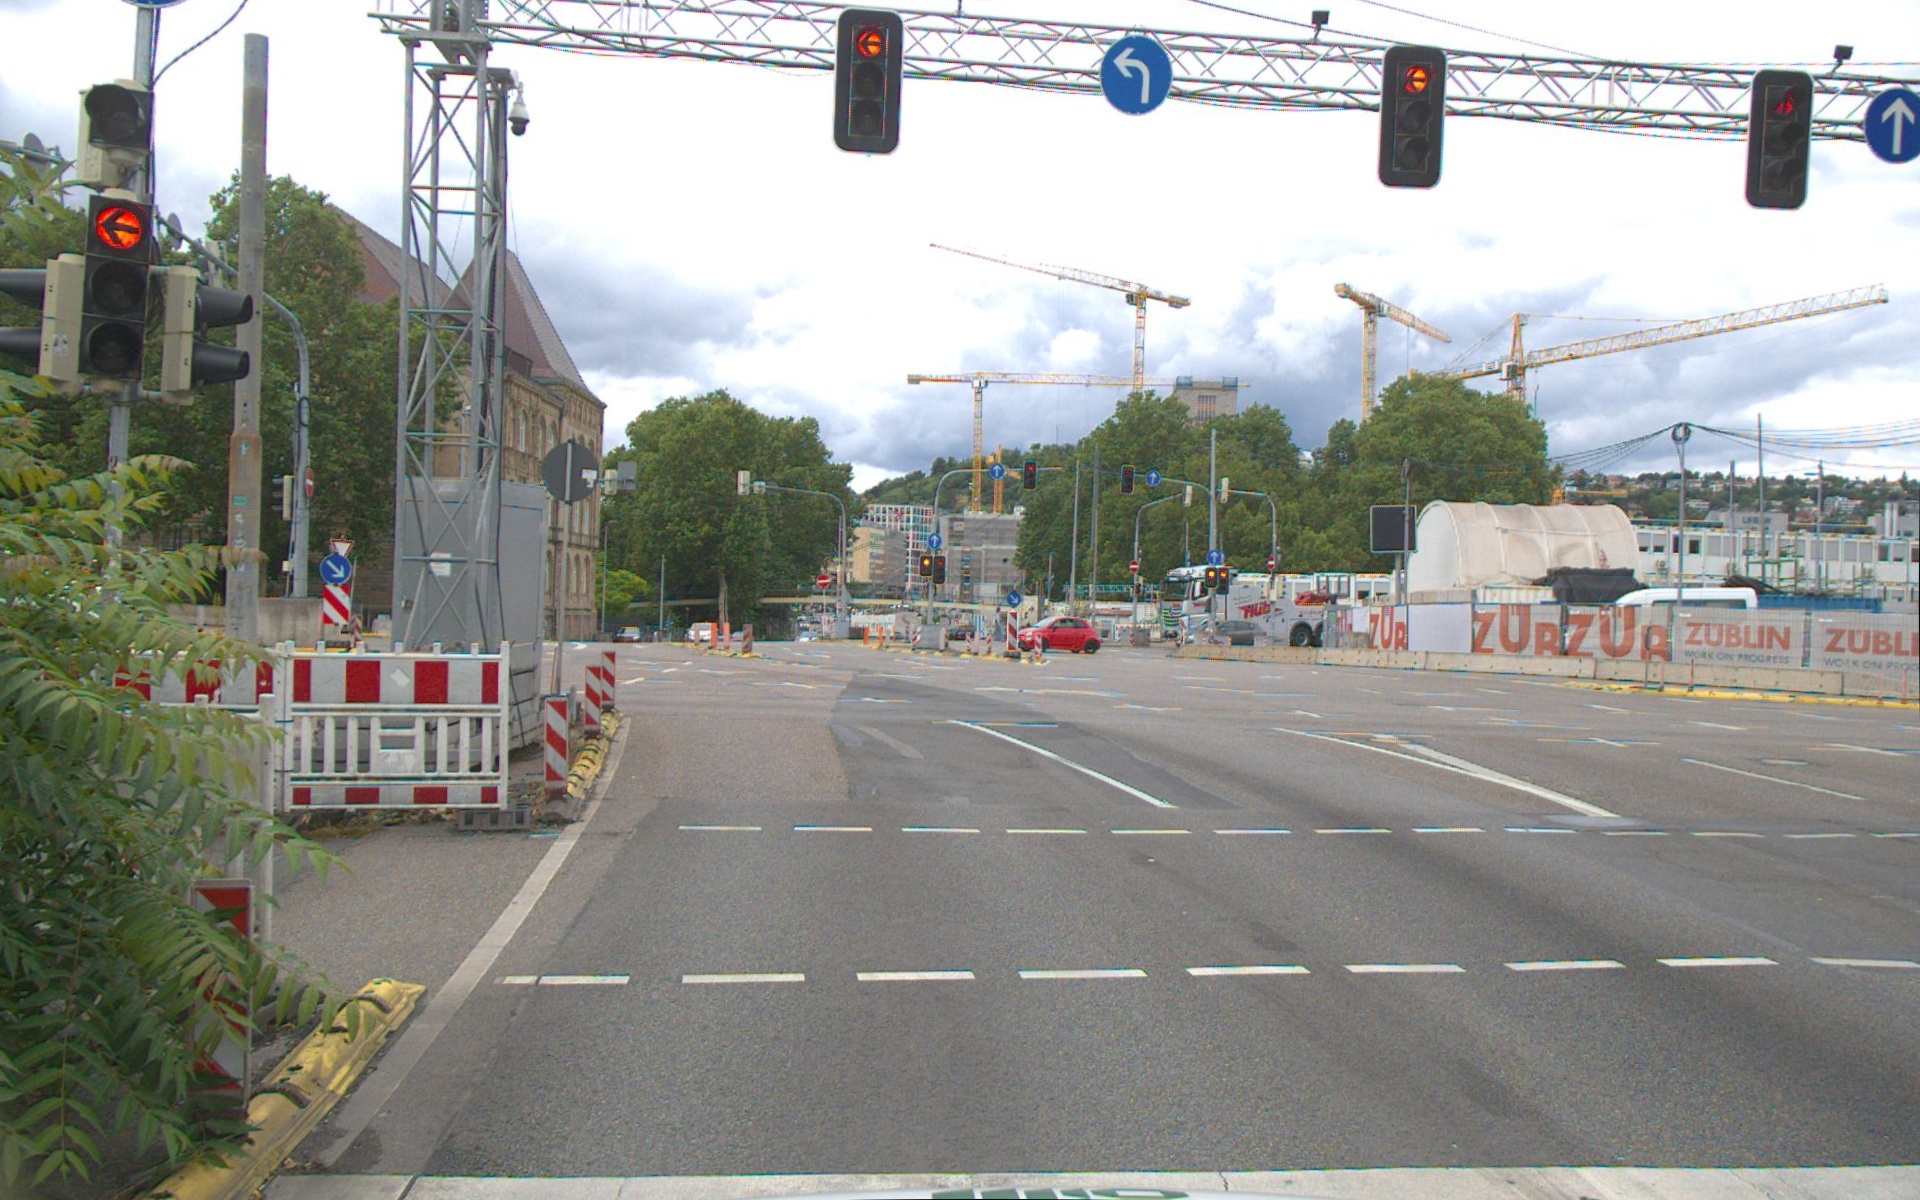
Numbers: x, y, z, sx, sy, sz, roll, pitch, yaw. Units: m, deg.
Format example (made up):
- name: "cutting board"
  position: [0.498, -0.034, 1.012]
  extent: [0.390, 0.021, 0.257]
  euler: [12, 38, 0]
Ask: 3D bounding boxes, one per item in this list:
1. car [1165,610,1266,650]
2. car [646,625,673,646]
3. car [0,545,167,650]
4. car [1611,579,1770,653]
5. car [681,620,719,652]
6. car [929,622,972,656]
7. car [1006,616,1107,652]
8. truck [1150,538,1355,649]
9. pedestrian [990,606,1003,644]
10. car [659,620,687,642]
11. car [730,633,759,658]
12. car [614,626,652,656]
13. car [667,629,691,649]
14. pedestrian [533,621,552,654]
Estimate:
- name: "car"
  position: [11.486, 1.362, 74.442]
  extent: [4.104, 1.731, 1.955]
  euler: [1, 0, -20]
- name: "car"
  position: [-28.160, 3.360, 155.187]
  extent: [1.954, 1.870, 3.997]
  euler: [1, 0, -3]
- name: "car"
  position: [-16.913, -0.055, 29.645]
  extent: [4.406, 1.790, 1.996]
  euler: [1, 0, -8]
- name: "car"
  position: [21.058, 0.449, 47.823]
  extent: [3.902, 2.049, 2.001]
  euler: [1, 0, 15]
- name: "car"
  position: [-16.239, 2.218, 103.481]
  extent: [1.954, 1.870, 3.997]
  euler: [1, 0, -3]
- name: "car"
  position: [-0.642, 2.481, 106.606]
  extent: [1.958, 2.049, 3.988]
  euler: [1, 0, -12]
- name: "car"
  position: [3.969, 1.384, 68.069]
  extent: [3.755, 1.410, 1.792]
  euler: [1, 0, -23]
- name: "truck"
  position: [14.019, -0.251, 79.109]
  extent: [9.586, 5.047, 3.091]
  euler: [1, -1, -24]
- name: "pedestrian"
  position: [1.826, 1.249, 82.211]
  extent: [0.574, 1.872, 0.604]
  euler: [1, -1, -4]
- name: "car"
  position: [-25.331, 2.721, 145.859]
  extent: [1.954, 1.870, 3.997]
  euler: [1, 0, -3]
- name: "car"
  position: [-17.446, 3.668, 134.075]
  extent: [1.954, 1.870, 3.997]
  euler: [1, 0, -3]
- name: "car"
  position: [-21.982, 2.735, 111.272]
  extent: [1.954, 1.870, 3.997]
  euler: [1, 0, -3]
- name: "car"
  position: [-28.201, 3.930, 166.036]
  extent: [1.954, 1.870, 3.997]
  euler: [1, 0, -3]
- name: "pedestrian"
  position: [-26.041, 2.328, 103.258]
  extent: [0.930, 2.049, 0.766]
  euler: [1, -1, 1]
